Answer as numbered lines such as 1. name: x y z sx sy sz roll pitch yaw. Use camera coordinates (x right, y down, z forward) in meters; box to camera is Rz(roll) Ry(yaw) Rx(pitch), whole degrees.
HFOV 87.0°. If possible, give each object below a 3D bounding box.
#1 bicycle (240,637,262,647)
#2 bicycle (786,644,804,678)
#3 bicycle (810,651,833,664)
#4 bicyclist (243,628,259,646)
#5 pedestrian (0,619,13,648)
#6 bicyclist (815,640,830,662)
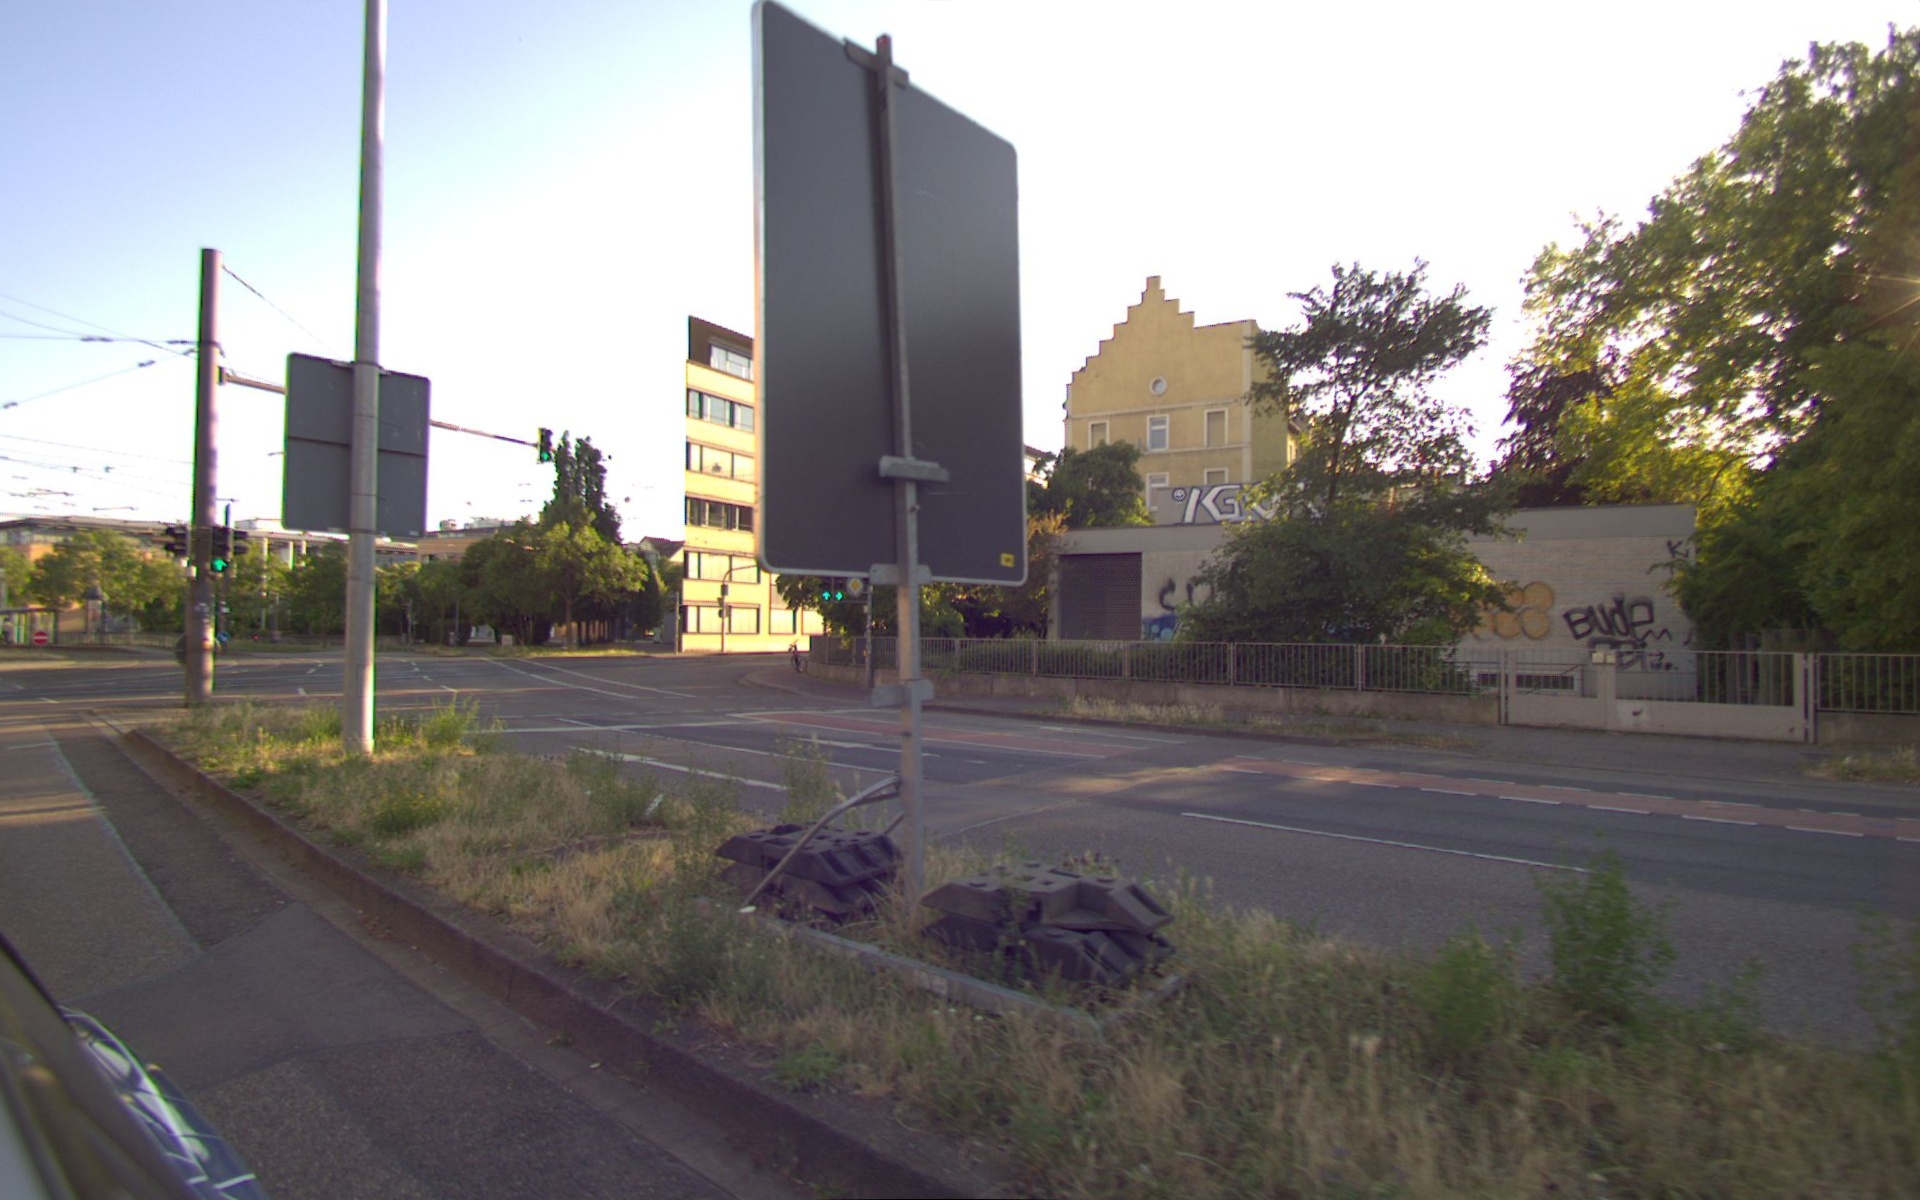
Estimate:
1. bicycle: -59.253 3.527 84.579 1.960 0.827 0.768 -1 -2 33
2. bicycle: -5.785 2.121 35.461 0.550 1.151 1.726 0 -2 -11
3. bicycle: -9.279 3.837 67.990 0.656 0.839 1.674 -1 -3 30
4. bicyclist: -59.272 3.072 84.601 0.825 1.479 0.762 -1 -3 33
5. pedestrian: -68.503 2.402 72.428 1.123 2.029 0.764 -1 -3 33
6. bicyclist: -9.249 3.409 68.048 0.665 1.464 0.736 -1 -3 30
